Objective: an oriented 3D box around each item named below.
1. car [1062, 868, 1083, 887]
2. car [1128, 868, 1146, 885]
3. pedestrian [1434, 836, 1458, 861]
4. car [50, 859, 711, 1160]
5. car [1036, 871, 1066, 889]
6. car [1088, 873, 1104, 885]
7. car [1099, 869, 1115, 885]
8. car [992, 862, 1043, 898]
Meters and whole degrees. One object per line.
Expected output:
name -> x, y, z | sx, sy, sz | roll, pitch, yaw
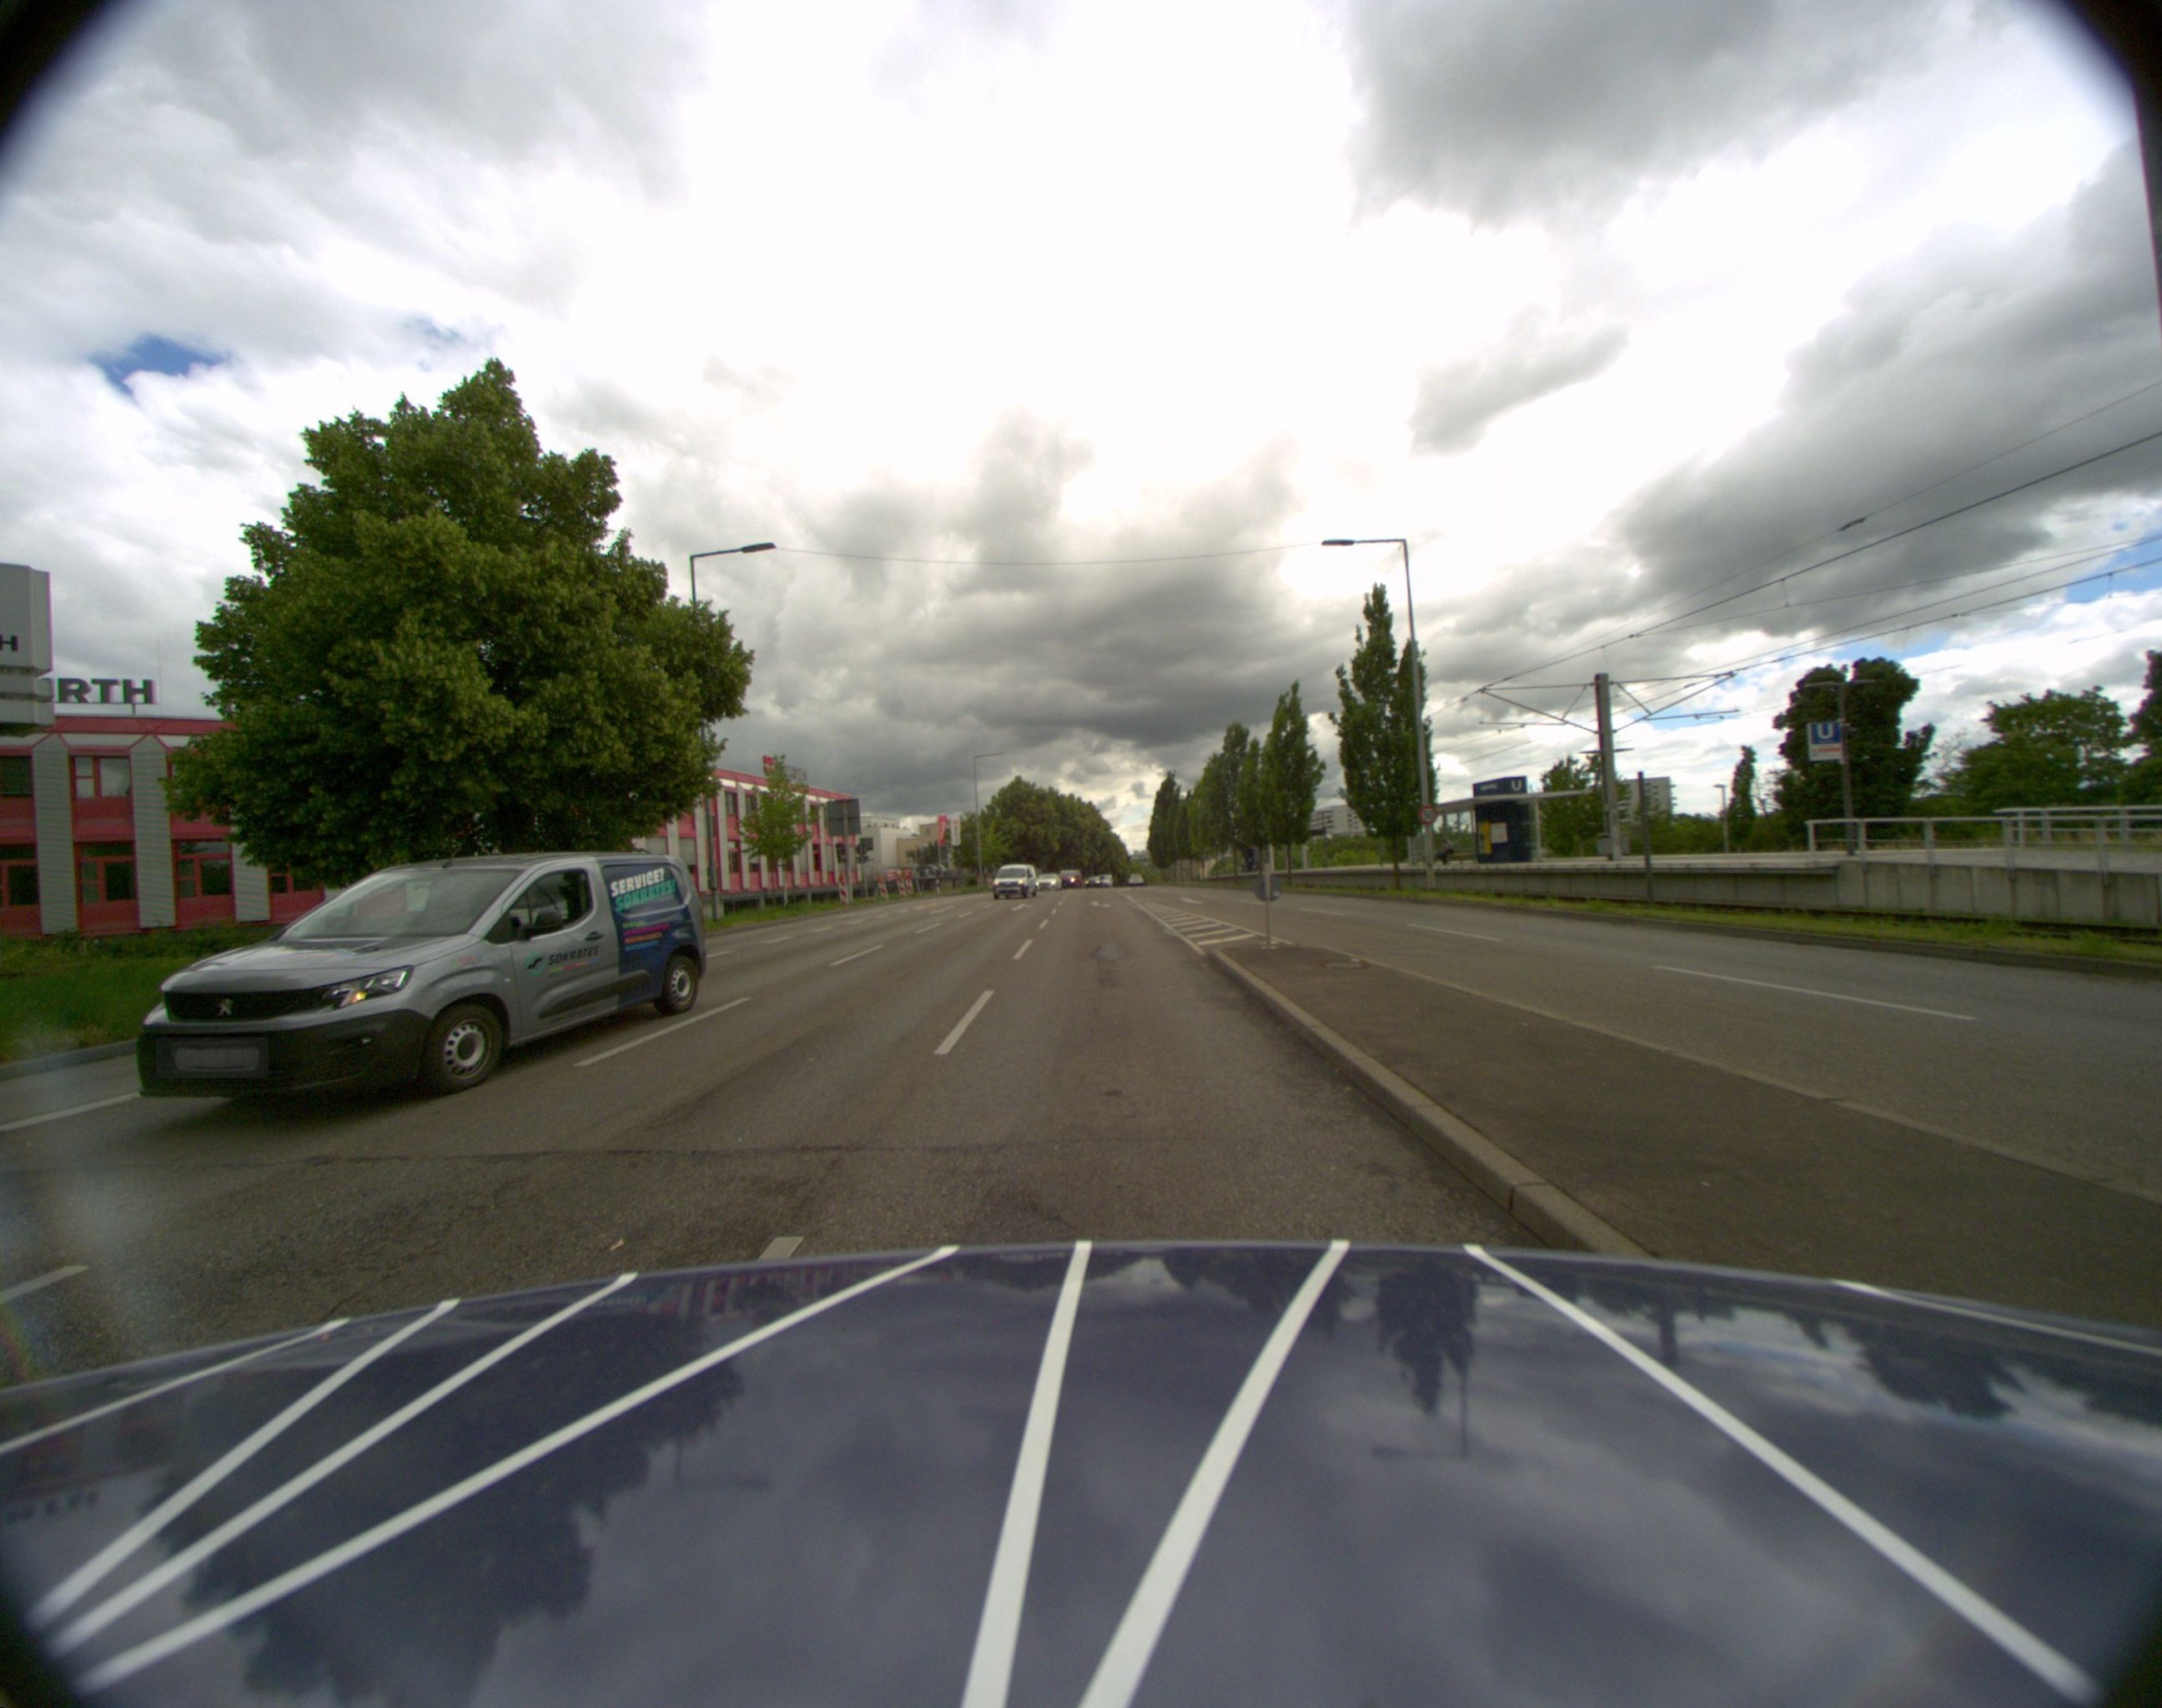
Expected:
car -> -0.912, 2.524, 81.679 | 2.184, 1.893, 4.456 | -2, -3, -1
car -> 6.881, 2.753, 93.705 | 1.998, 2.002, 4.000 | -2, 0, 3
pedestrian -> 17.725, -0.262, 36.895 | 0.751, 1.169, 0.837 | -2, 1, 0
car -> -5.359, 0.984, 6.793 | 1.813, 1.769, 4.223 | -2, 0, 3
car -> -2.385, 2.138, 61.603 | 1.812, 1.332, 4.226 | -2, -3, 6
car -> 1.883, 3.117, 93.752 | 1.813, 1.332, 4.225 | -2, -3, 2
car -> 3.573, 3.151, 103.900 | 1.949, 1.895, 5.239 | -2, 0, 5
car -> -3.352, 1.363, 41.113 | 1.812, 1.781, 4.699 | -2, -1, 6
